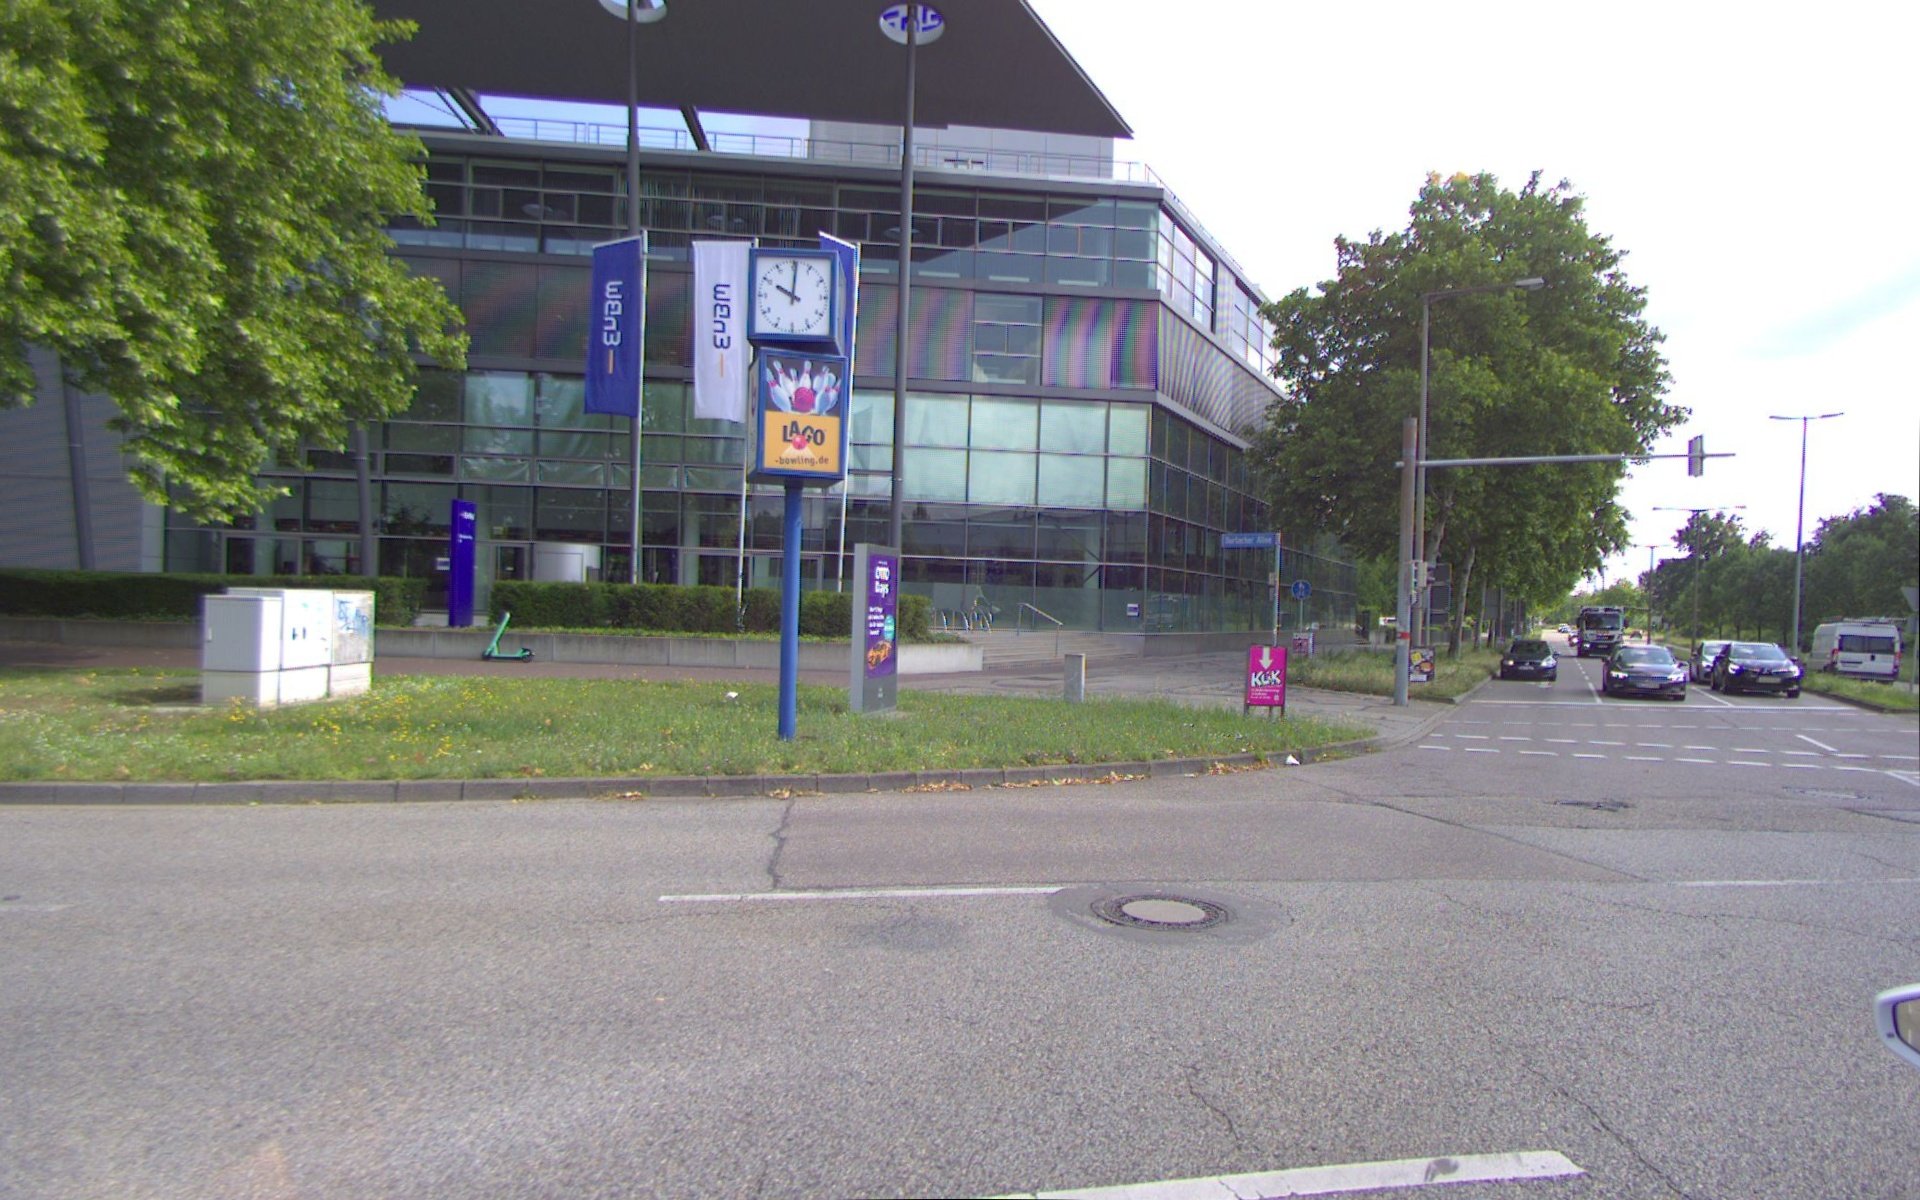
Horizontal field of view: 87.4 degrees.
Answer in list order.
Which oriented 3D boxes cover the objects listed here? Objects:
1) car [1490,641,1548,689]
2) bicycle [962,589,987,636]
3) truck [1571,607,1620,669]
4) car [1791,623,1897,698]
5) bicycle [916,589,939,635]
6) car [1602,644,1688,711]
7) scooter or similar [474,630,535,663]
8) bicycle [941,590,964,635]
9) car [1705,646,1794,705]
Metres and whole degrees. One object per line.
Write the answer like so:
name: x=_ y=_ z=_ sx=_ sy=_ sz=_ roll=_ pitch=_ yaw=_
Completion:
car: x=20.890 y=2.377 z=37.480 sx=1.704 sy=1.593 sz=3.991 roll=1 pitch=-1 yaw=31
bicycle: x=0.475 y=0.433 z=33.419 sx=0.678 sy=1.459 sz=2.179 roll=1 pitch=-3 yaw=-3
truck: x=44.357 y=2.498 z=70.332 sx=2.612 sy=3.940 sz=10.136 roll=1 pitch=1 yaw=31
car: x=35.665 y=2.343 z=40.680 sx=2.165 sy=2.762 sz=4.923 roll=-1 pitch=-1 yaw=29
bicycle: x=-1.057 y=0.427 z=33.283 sx=0.727 sy=1.402 sz=2.140 roll=0 pitch=-3 yaw=-1
car: x=19.712 y=2.162 z=29.041 sx=1.838 sy=1.595 sz=4.557 roll=2 pitch=0 yaw=32
scooter or similar: x=-9.978 y=1.014 z=21.994 sx=1.206 sy=0.722 sz=0.241 roll=0 pitch=-3 yaw=0
bicycle: x=-0.270 y=0.442 z=33.337 sx=0.727 sy=1.402 sz=2.140 roll=0 pitch=-3 yaw=-1
car: x=24.380 y=2.287 z=31.150 sx=1.684 sy=1.608 sz=4.351 roll=-2 pitch=-2 yaw=32
